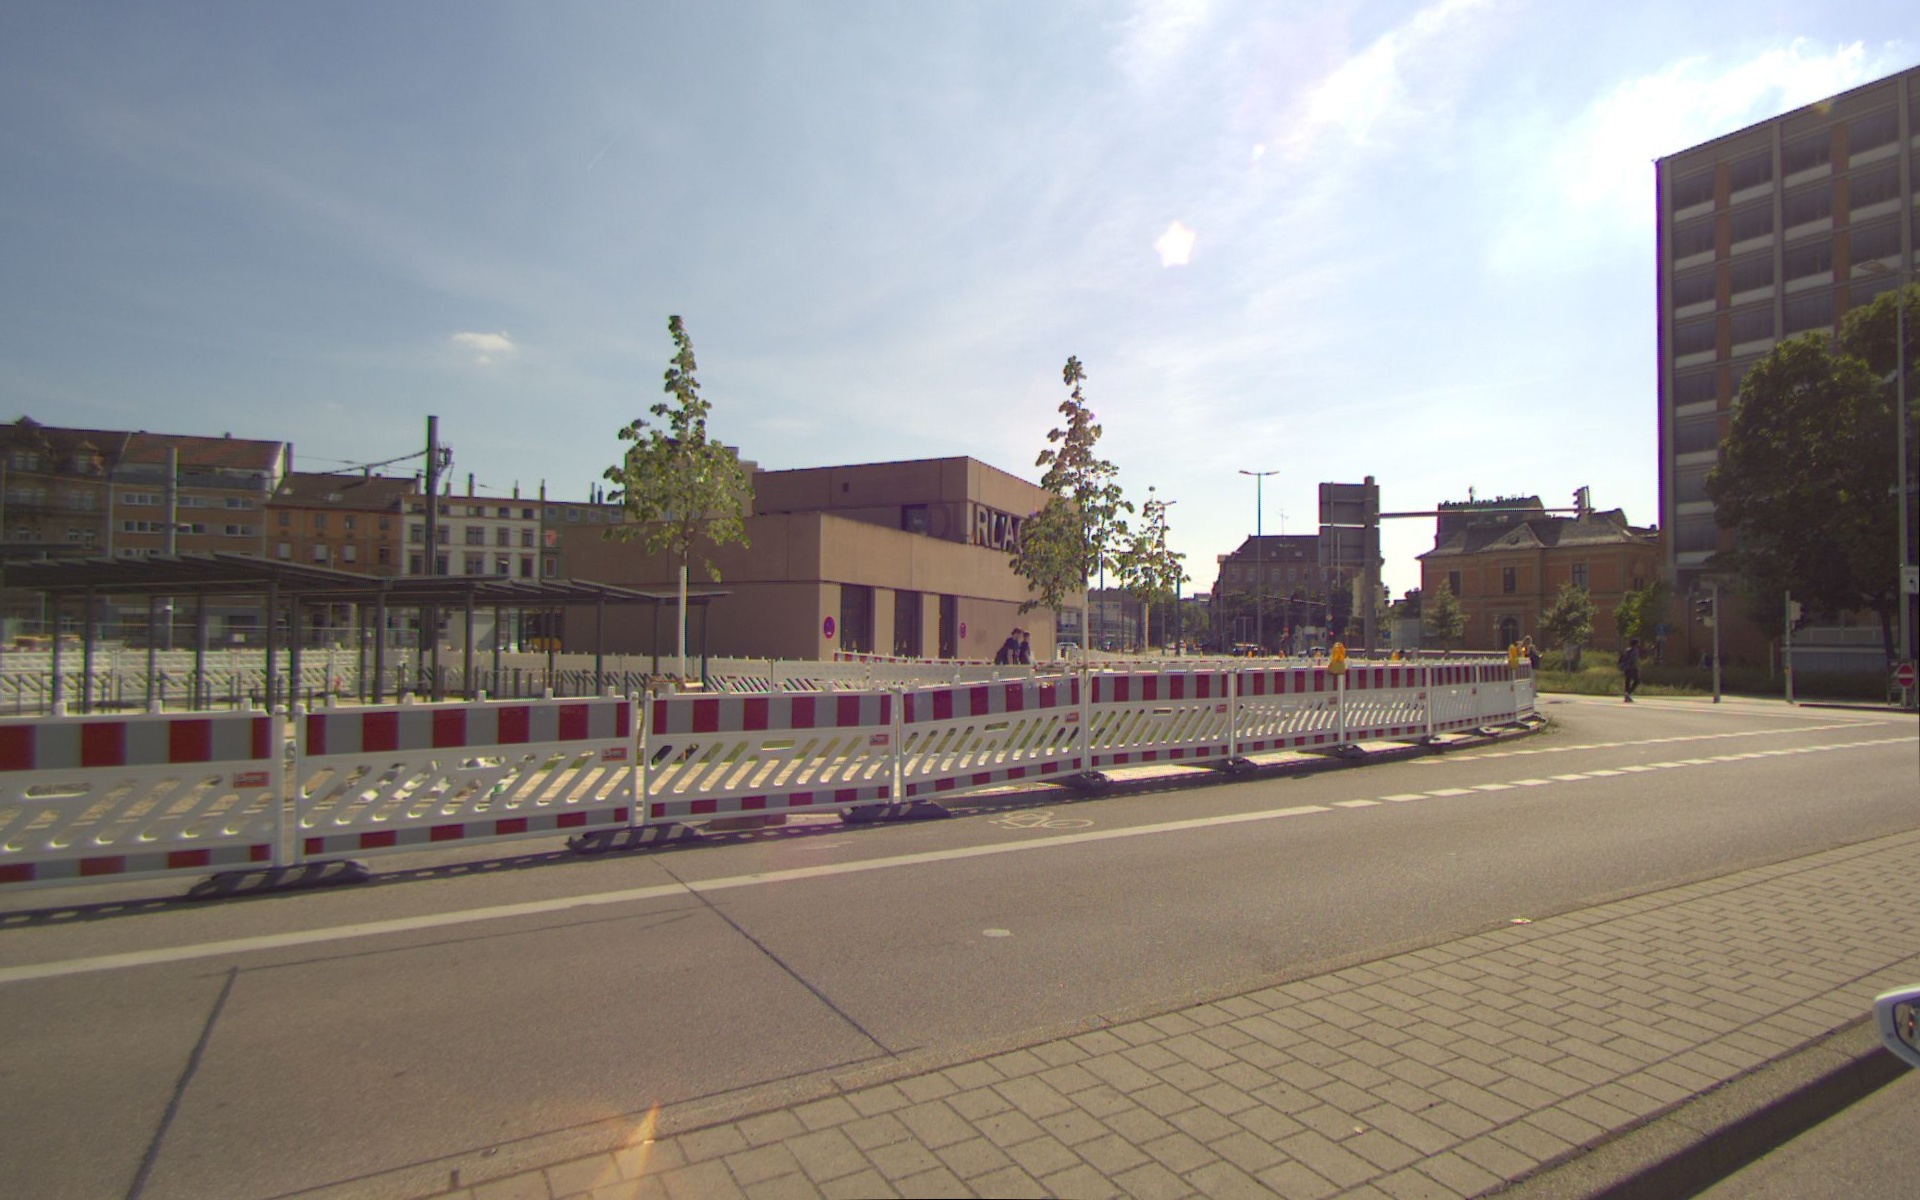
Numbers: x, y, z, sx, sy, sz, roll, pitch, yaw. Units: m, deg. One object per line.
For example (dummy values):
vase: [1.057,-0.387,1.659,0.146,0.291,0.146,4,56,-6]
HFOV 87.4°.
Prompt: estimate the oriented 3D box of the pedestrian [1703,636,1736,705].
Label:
pedestrian: [23.287,2.148,30.817,0.604,2.040,0.687,2,-1,23]

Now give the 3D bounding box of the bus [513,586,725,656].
bus: [-17.816,1.239,54.104,2.808,3.324,12.650,-1,-2,25]

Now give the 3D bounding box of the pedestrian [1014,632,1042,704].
pedestrian: [1.646,1.649,24.413,0.559,1.731,0.539,1,-2,-9]

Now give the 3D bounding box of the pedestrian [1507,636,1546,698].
pedestrian: [16.447,1.949,29.180,0.728,1.775,1.104,-2,-5,44]

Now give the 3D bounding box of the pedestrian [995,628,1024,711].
pedestrian: [1.170,1.629,23.788,0.595,1.940,0.441,1,-2,-9]

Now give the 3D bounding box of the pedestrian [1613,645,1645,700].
pedestrian: [18.743,2.024,28.141,0.624,1.511,0.613,-2,-3,44]

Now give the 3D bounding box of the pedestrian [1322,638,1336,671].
pedestrian: [22.855,3.356,62.246,0.514,2.040,0.626,1,-2,-16]

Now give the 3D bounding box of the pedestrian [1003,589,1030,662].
pedestrian: [1.403,0.638,24.990,0.559,1.801,0.544,1,-2,-9]

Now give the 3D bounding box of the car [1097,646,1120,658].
car: [23.353,8.171,157.935,3.973,1.739,1.630,3,-3,-44]
